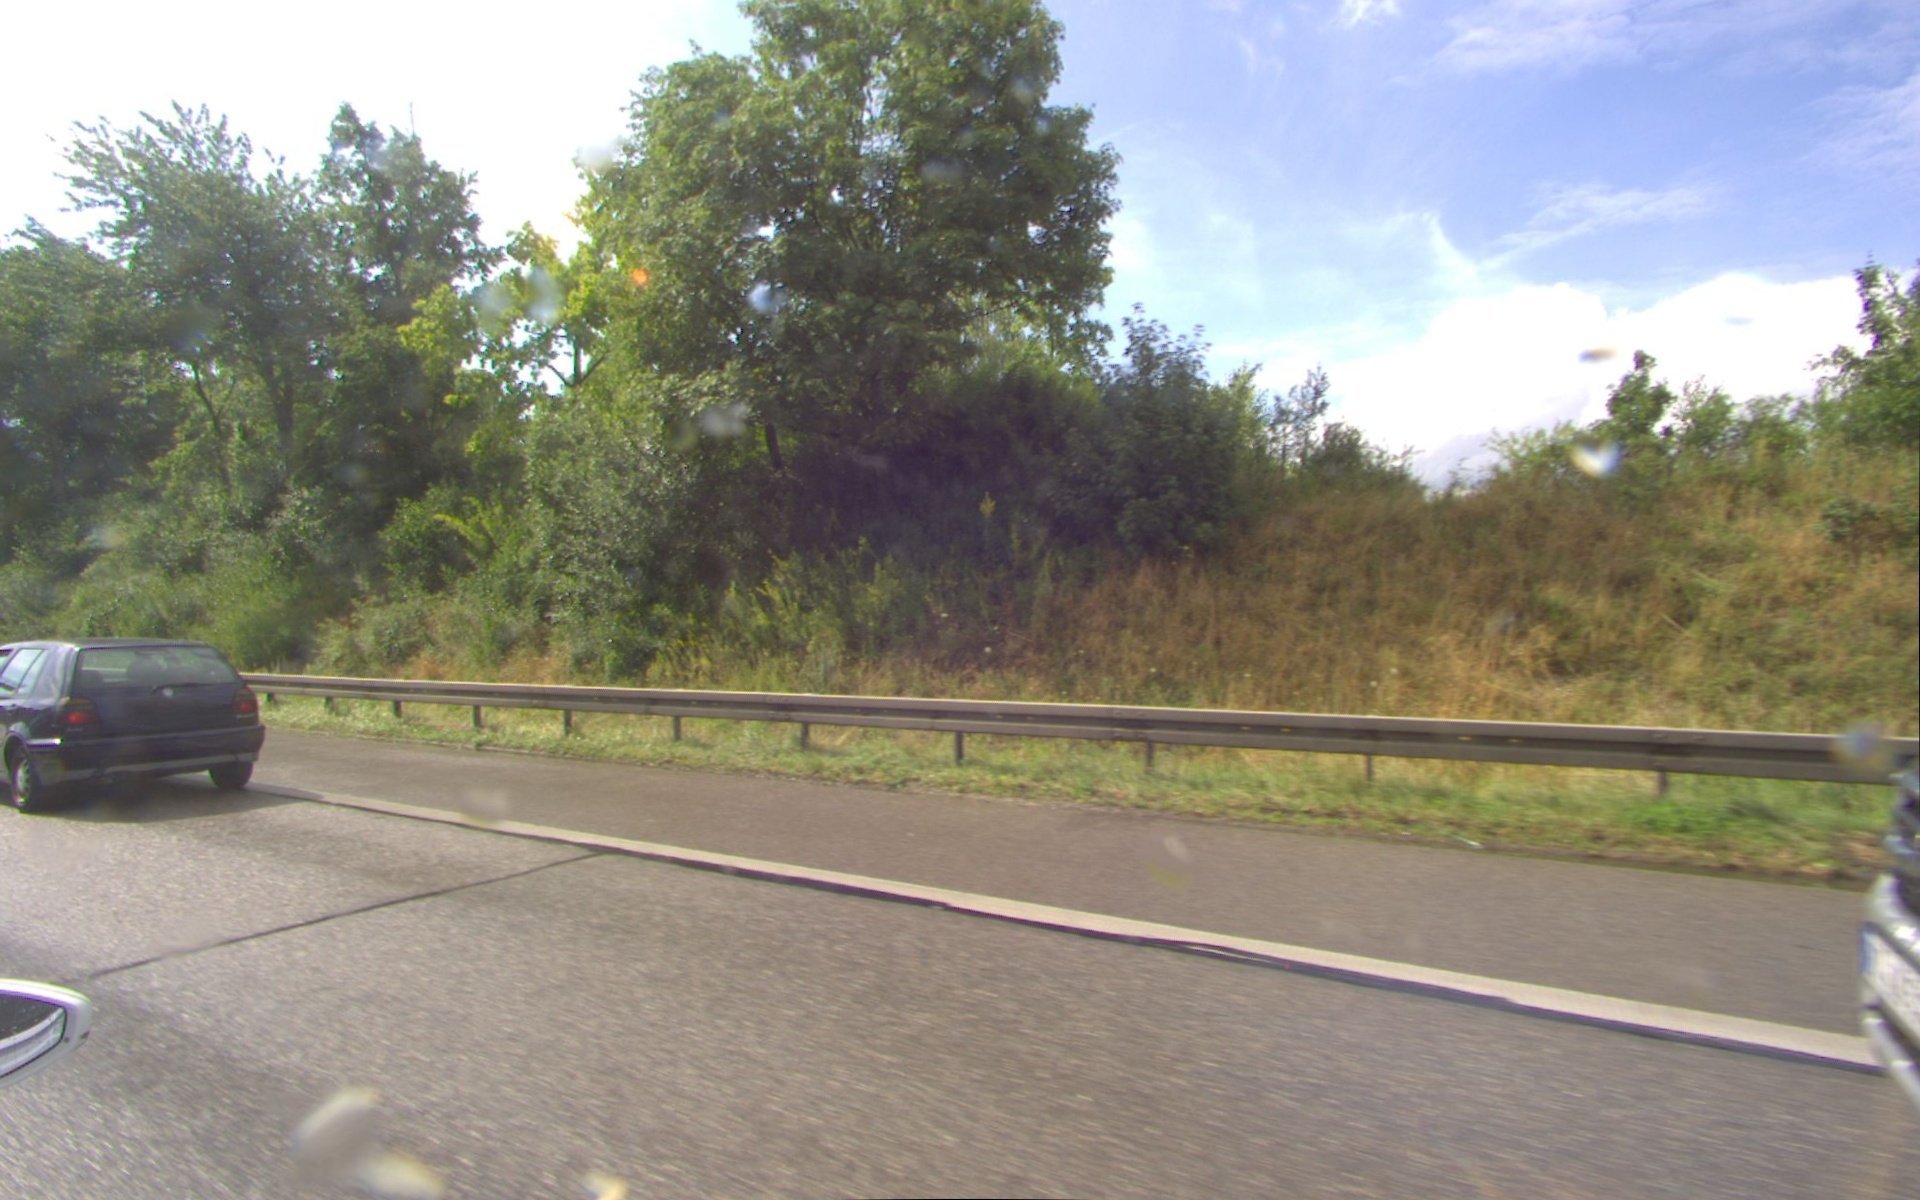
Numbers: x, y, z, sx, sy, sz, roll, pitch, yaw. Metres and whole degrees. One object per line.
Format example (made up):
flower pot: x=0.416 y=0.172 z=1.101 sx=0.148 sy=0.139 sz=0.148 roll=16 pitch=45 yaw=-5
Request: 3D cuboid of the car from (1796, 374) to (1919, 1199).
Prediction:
car: x=4.309 y=0.479 z=0.595 sx=5.570 sy=1.943 sz=1.939 roll=-1 pitch=-2 yaw=31

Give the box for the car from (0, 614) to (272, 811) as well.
car: x=-8.401 y=0.941 z=9.463 sx=3.916 sy=1.535 sz=1.589 roll=-1 pitch=-2 yaw=30
